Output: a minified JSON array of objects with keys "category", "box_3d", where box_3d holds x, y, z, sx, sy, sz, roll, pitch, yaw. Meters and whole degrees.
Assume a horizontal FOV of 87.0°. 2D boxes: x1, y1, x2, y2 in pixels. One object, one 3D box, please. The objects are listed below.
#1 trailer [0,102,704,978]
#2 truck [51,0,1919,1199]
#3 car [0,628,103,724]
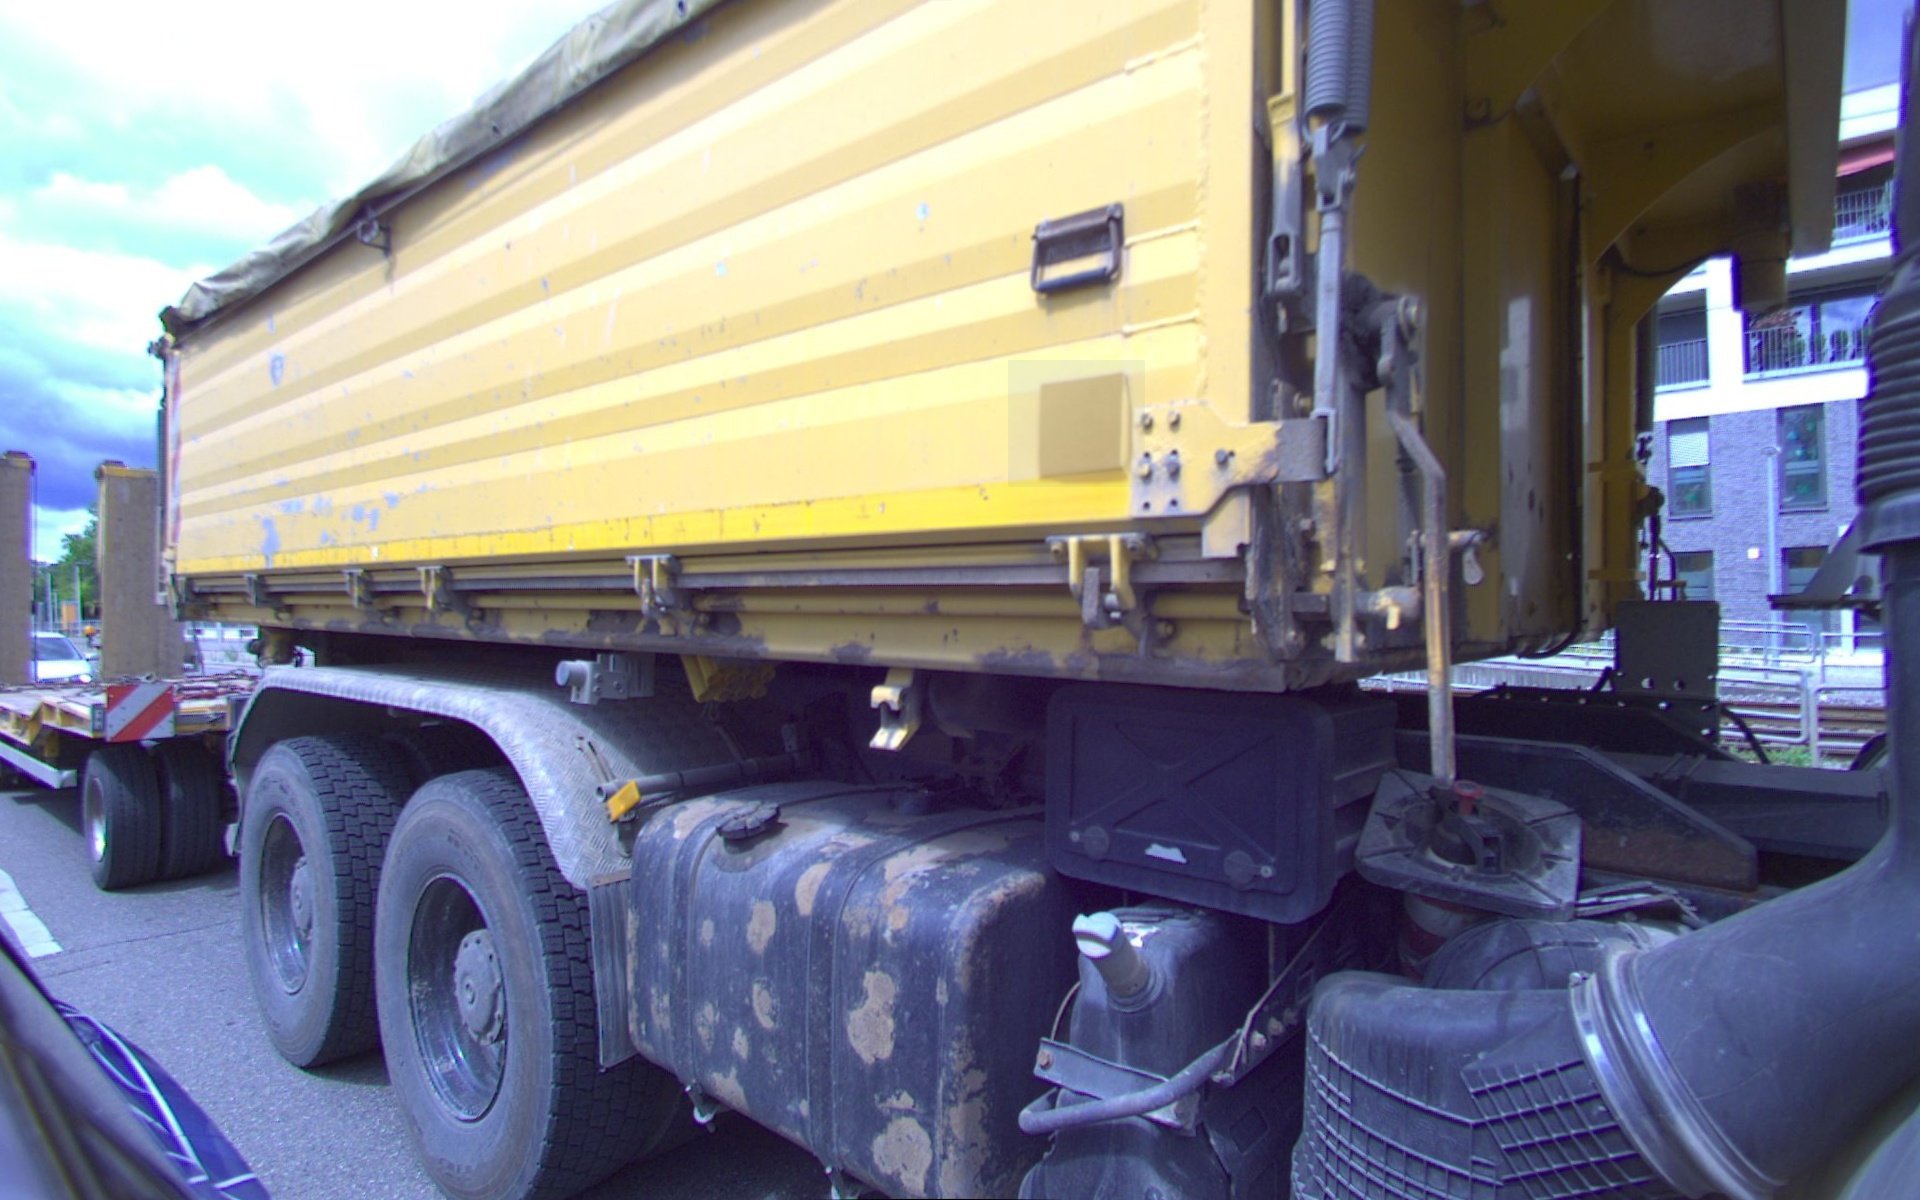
[{"category":"trailer","box_3d":[-6.843,-0.135,9.015,10.957,3.726,3.018,-2,-1,40]},{"category":"truck","box_3d":[0.156,-0.220,2.894,7.999,3.420,3.019,-2,-1,40]},{"category":"car","box_3d":[-15.809,1.216,16.892,3.784,1.427,1.761,-2,-1,41]}]
